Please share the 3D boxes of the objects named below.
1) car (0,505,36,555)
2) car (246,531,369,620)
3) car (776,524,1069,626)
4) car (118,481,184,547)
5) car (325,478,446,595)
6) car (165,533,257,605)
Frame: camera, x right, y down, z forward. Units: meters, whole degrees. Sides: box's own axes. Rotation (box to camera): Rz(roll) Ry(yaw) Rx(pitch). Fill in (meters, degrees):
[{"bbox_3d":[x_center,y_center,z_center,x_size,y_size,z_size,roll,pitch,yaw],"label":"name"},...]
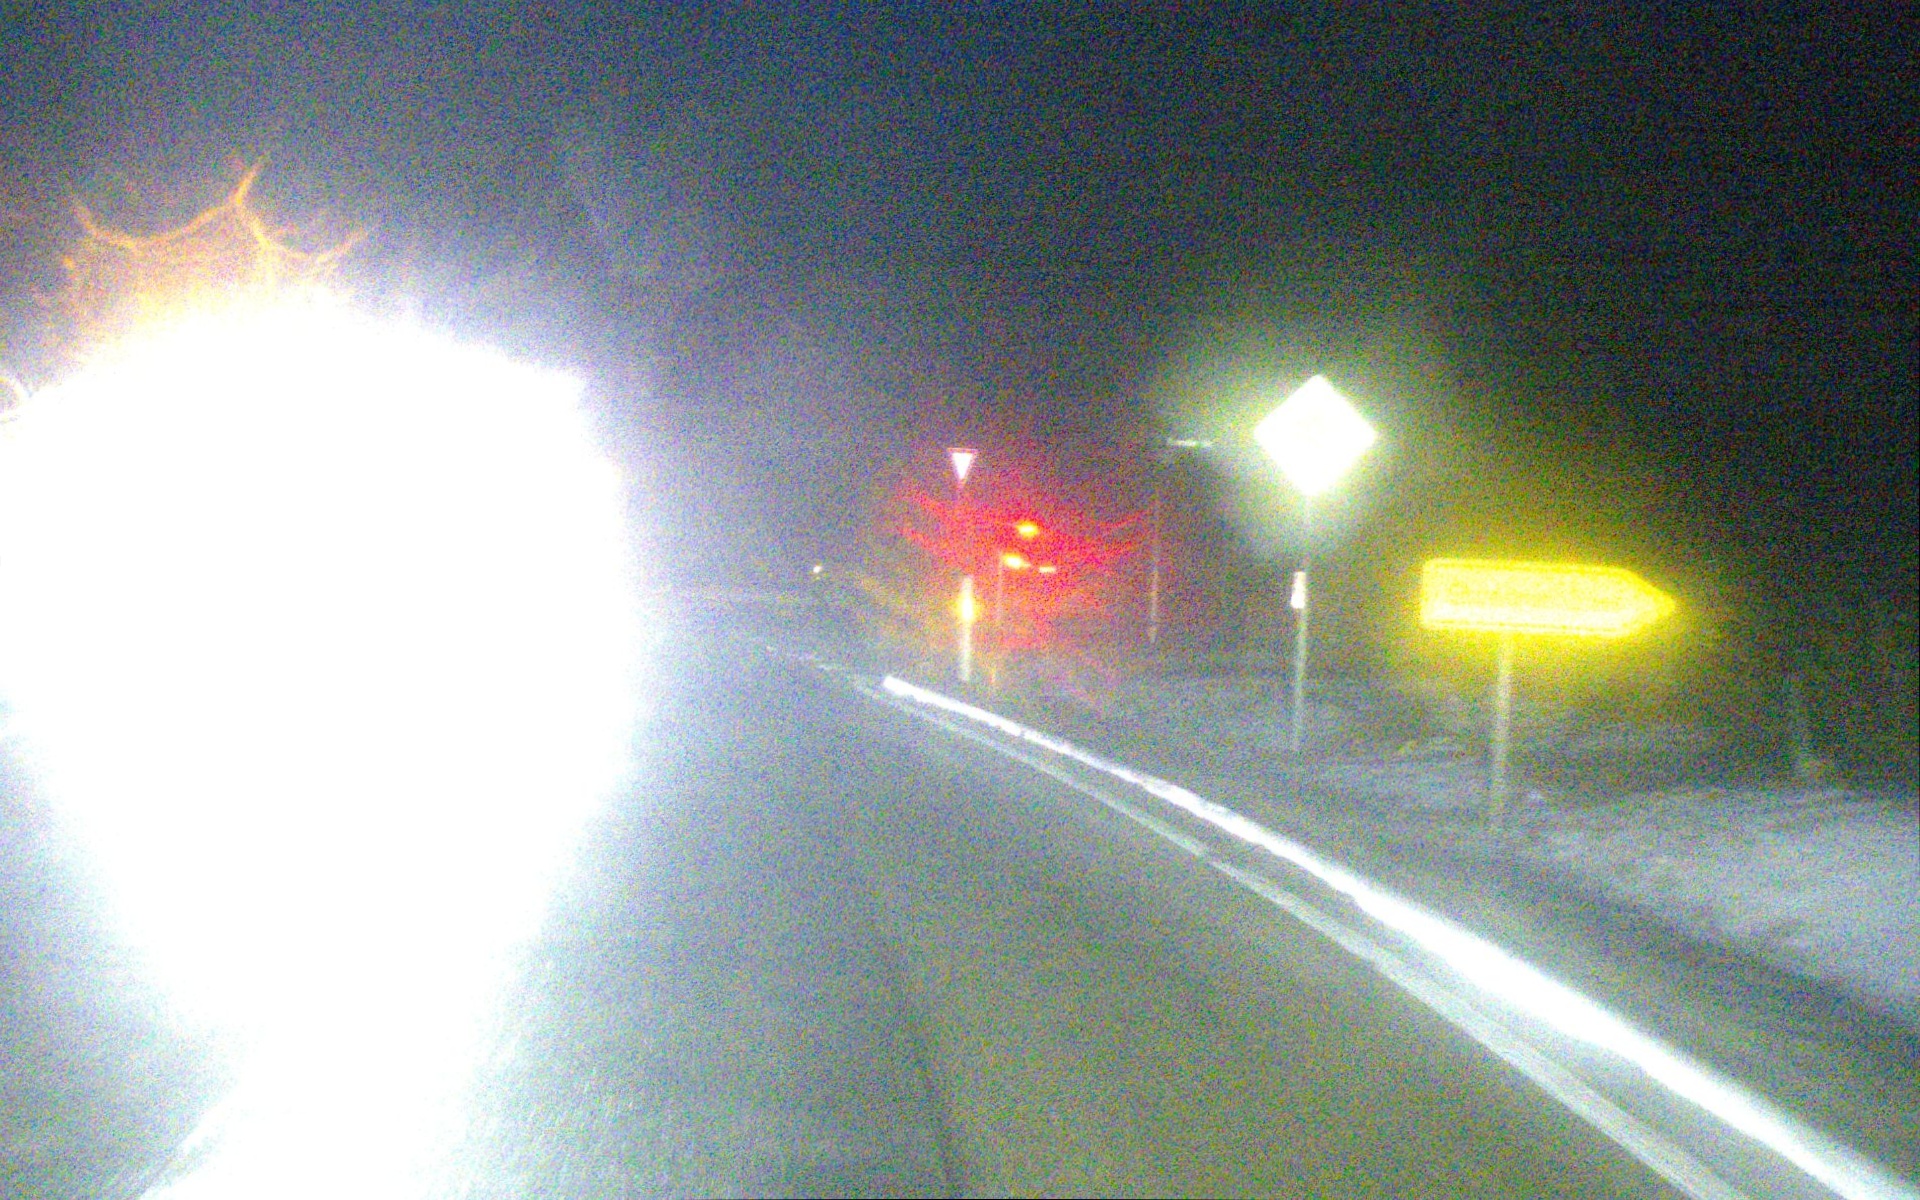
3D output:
[{"bbox_3d":[-31.298,-2.301,112.840,1.695,1.594,3.802,0,2,-17],"label":"car"},{"bbox_3d":[-11.788,-0.437,61.922,1.955,1.517,4.400,1,0,-13],"label":"car"},{"bbox_3d":[-0.669,-0.443,59.791,4.768,1.685,1.957,1,0,32],"label":"car"},{"bbox_3d":[-26.049,-2.739,110.631,1.993,2.007,4.001,1,0,-13],"label":"car"},{"bbox_3d":[-13.934,-1.577,83.061,2.538,2.489,5.717,0,4,-13],"label":"car"},{"bbox_3d":[-16.480,-0.705,75.576,1.711,1.471,3.870,1,1,-16],"label":"car"}]
